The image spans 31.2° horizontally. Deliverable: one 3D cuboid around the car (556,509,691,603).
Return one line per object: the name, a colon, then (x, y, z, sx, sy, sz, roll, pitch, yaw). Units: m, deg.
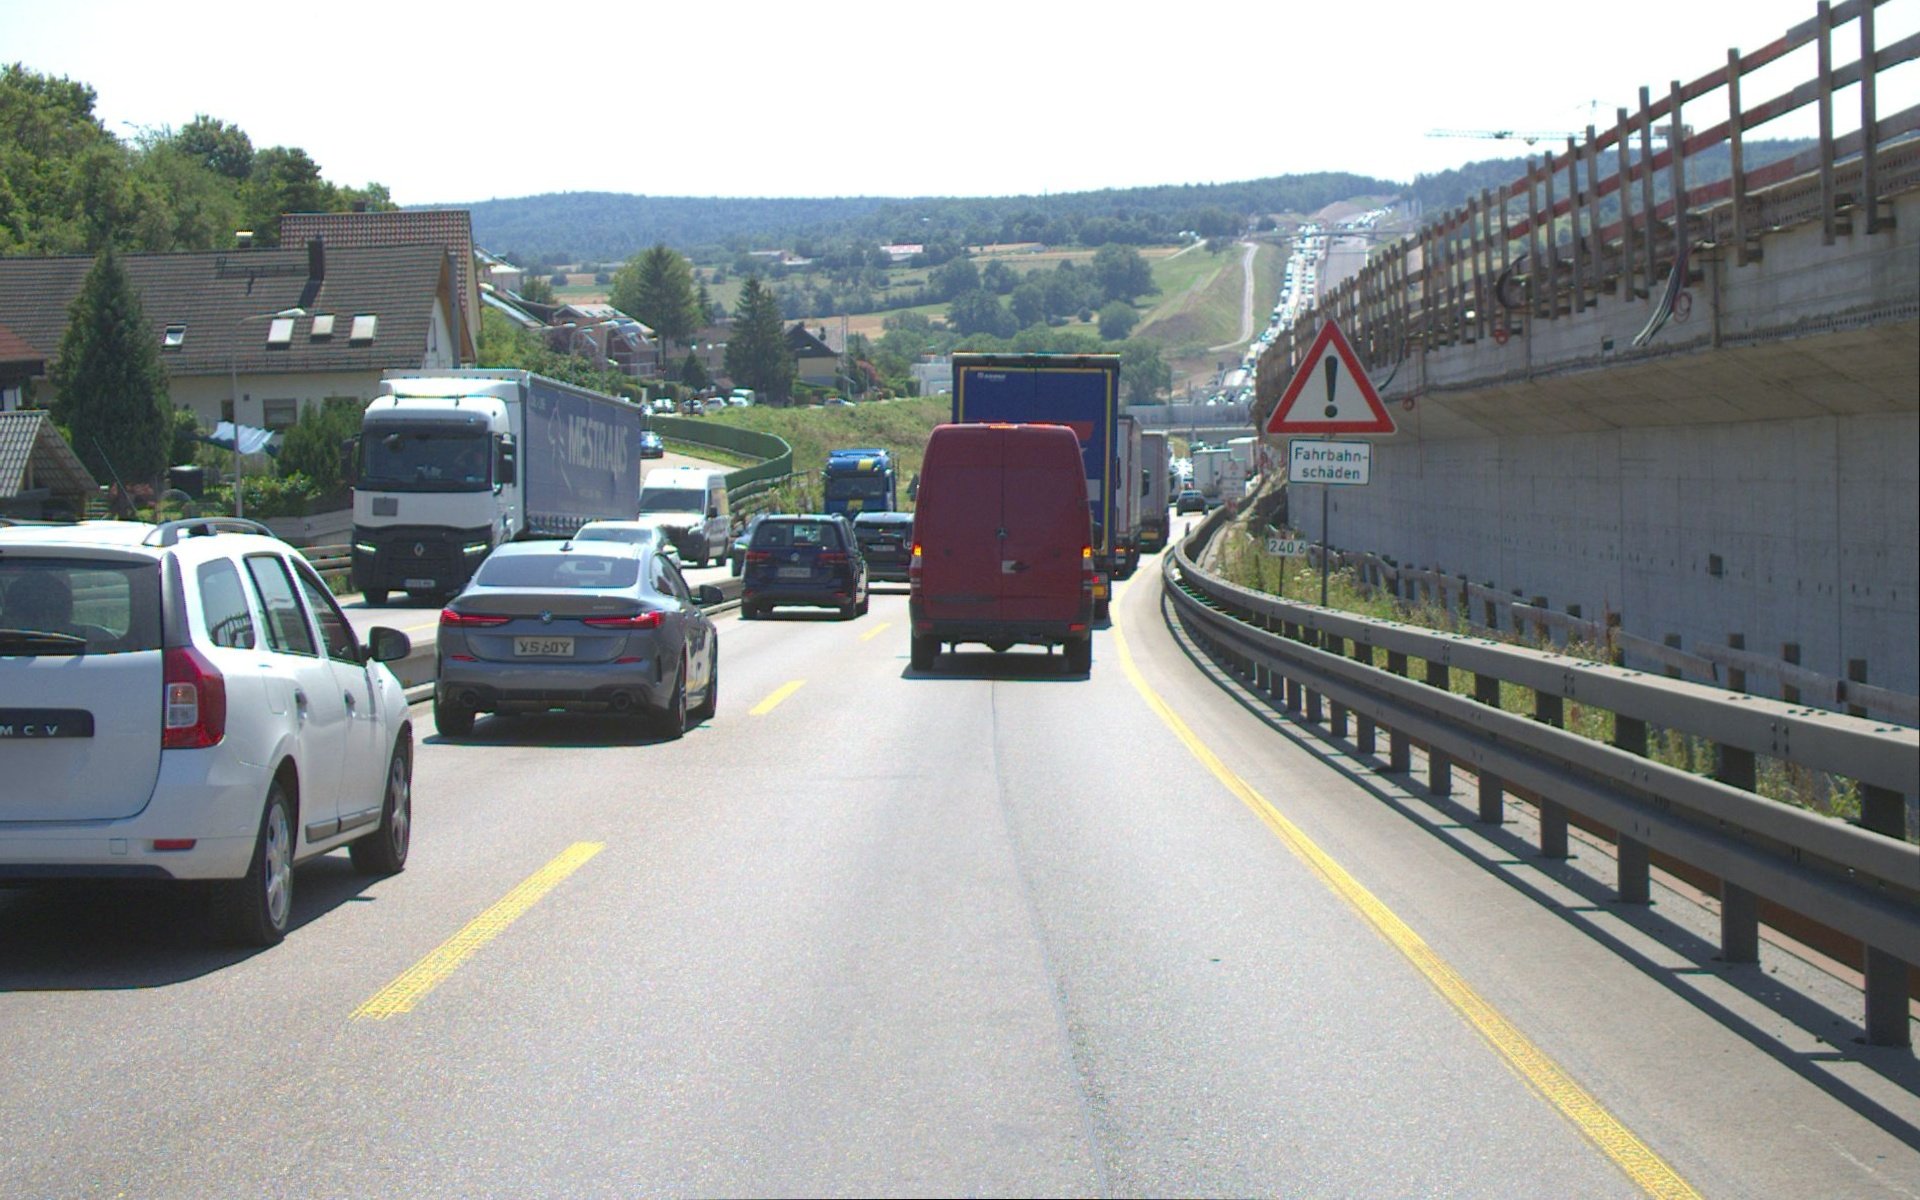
car: (-5.661, -0.779, 58.283, 1.671, 1.530, 4.190, 0, 2, 3)

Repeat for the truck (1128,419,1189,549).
truck: (6.834, -3.948, 118.137, 1.994, 4.366, 3.999, 0, 0, 4)

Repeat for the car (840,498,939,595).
car: (-1.352, -1.017, 66.989, 1.729, 1.832, 4.000, 0, 0, 2)

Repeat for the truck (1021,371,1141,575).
truck: (3.139, -3.050, 86.601, 2.786, 4.799, 9.684, 0, 0, 3)

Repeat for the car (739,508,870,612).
car: (-2.433, -0.618, 54.589, 1.810, 1.602, 3.719, 0, 0, 2)

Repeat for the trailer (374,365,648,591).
trailer: (-8.629, -2.344, 67.824, 3.135, 4.065, 11.818, 0, 1, 4)

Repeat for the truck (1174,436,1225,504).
truck: (16.676, -8.984, 238.487, 3.468, 4.366, 8.555, 0, 0, 4)

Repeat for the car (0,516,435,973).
car: (-3.242, 0.473, 13.469, 1.651, 1.478, 4.266, -2, 1, 0)

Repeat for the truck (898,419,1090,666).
truck: (0.385, -0.604, 37.793, 1.993, 2.570, 4.000, 0, 0, 1)

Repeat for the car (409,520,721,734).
car: (-2.887, 0.165, 25.890, 1.795, 1.480, 4.049, 0, 1, 1)

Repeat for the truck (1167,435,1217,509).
truck: (14.654, -8.052, 216.926, 3.069, 4.366, 8.555, 0, 0, 4)

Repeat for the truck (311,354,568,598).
truck: (-9.091, -2.152, 60.856, 3.135, 4.065, 6.879, 0, 1, 3)

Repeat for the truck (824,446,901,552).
truck: (-3.775, -3.879, 133.581, 2.509, 3.951, 5.174, 0, 0, 4)

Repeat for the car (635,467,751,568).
car: (-7.055, -2.202, 91.466, 2.006, 2.594, 5.978, 0, 2, 6)

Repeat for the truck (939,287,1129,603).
truck: (1.359, -2.370, 57.159, 2.786, 4.799, 9.684, 0, 0, 3)
